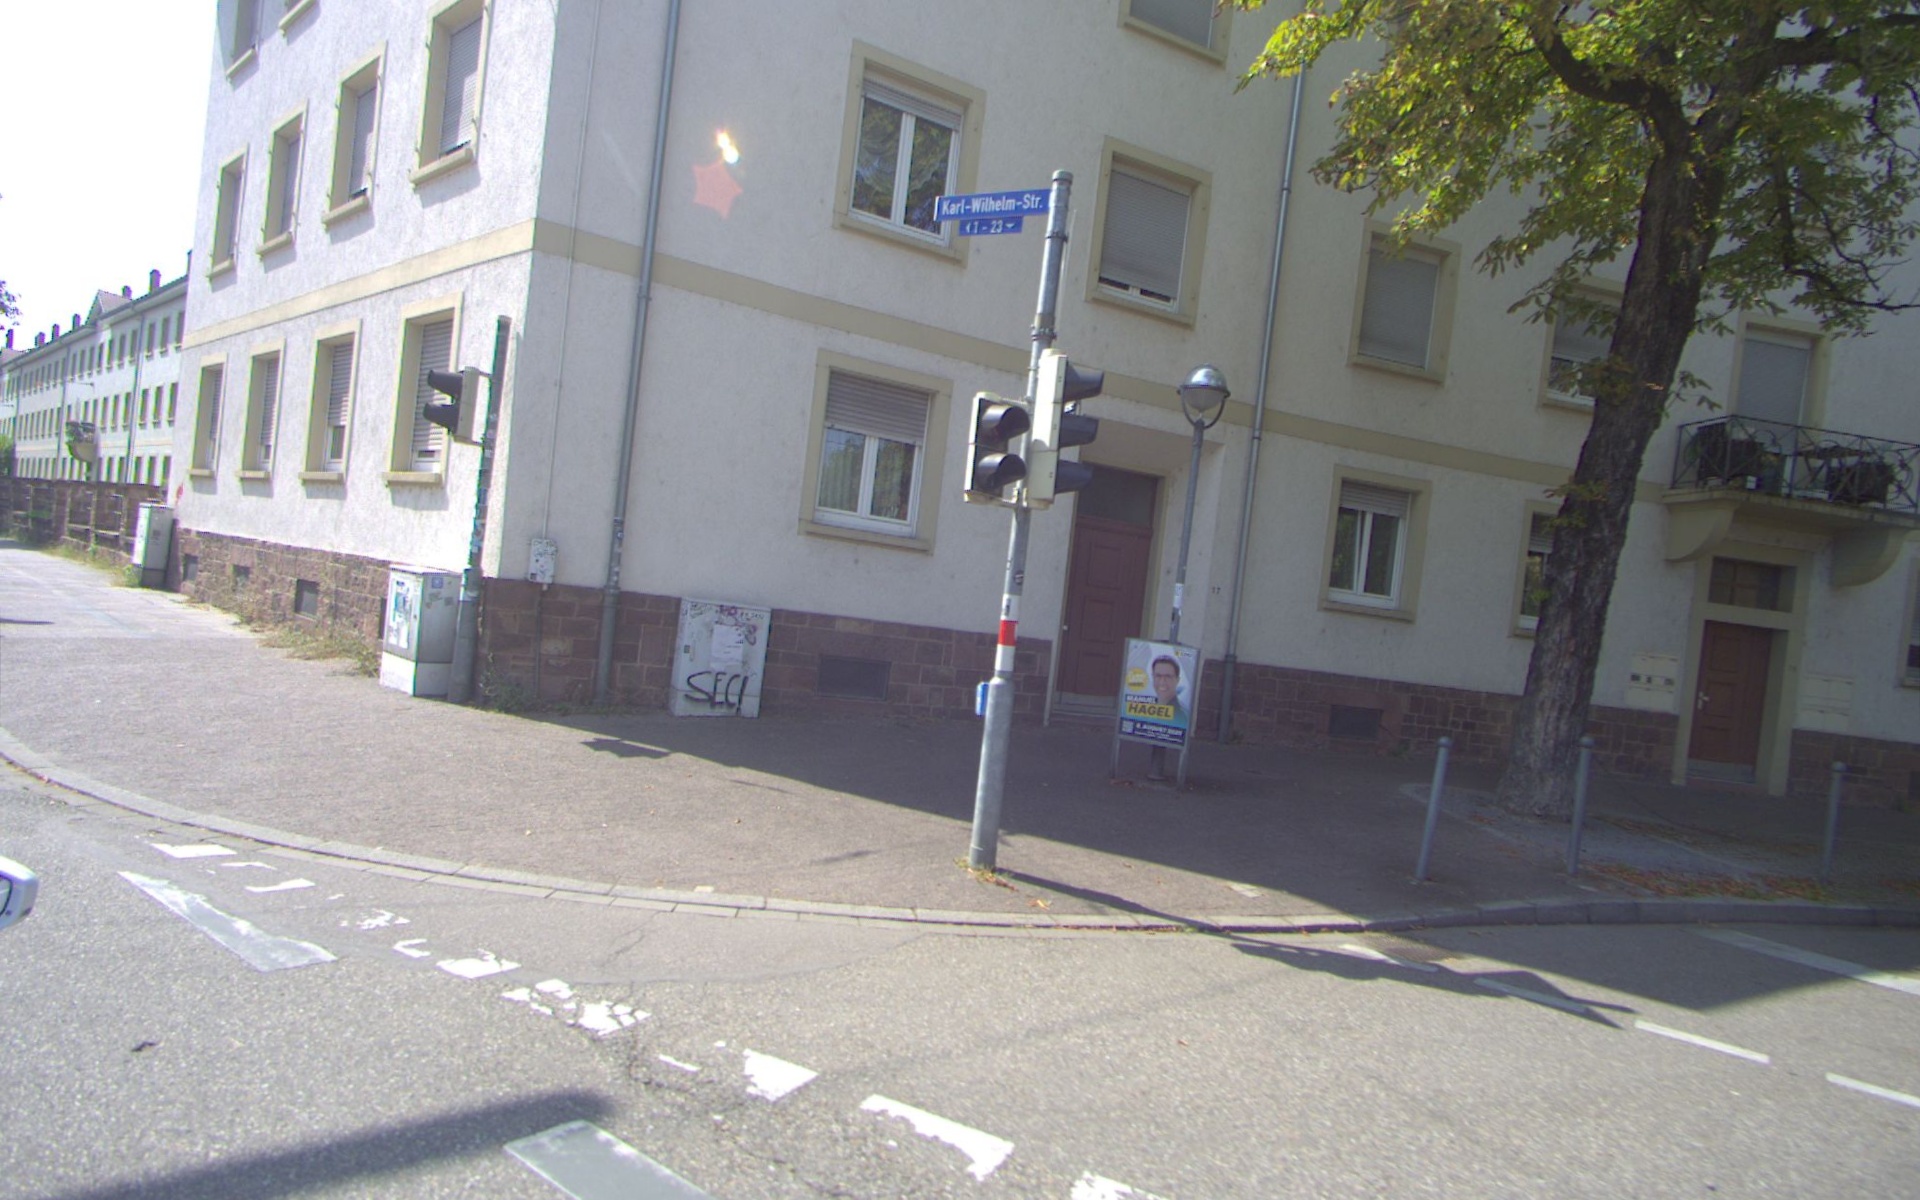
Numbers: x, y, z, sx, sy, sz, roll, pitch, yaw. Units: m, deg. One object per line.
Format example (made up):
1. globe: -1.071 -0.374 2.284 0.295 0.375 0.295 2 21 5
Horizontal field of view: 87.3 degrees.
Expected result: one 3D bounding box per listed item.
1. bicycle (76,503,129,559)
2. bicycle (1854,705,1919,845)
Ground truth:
1. bicycle: -18.513 -1.501 21.708 1.801 1.060 0.440 7 1 37
2. bicycle: 12.112 2.167 11.511 2.640 1.471 1.022 7 2 1
